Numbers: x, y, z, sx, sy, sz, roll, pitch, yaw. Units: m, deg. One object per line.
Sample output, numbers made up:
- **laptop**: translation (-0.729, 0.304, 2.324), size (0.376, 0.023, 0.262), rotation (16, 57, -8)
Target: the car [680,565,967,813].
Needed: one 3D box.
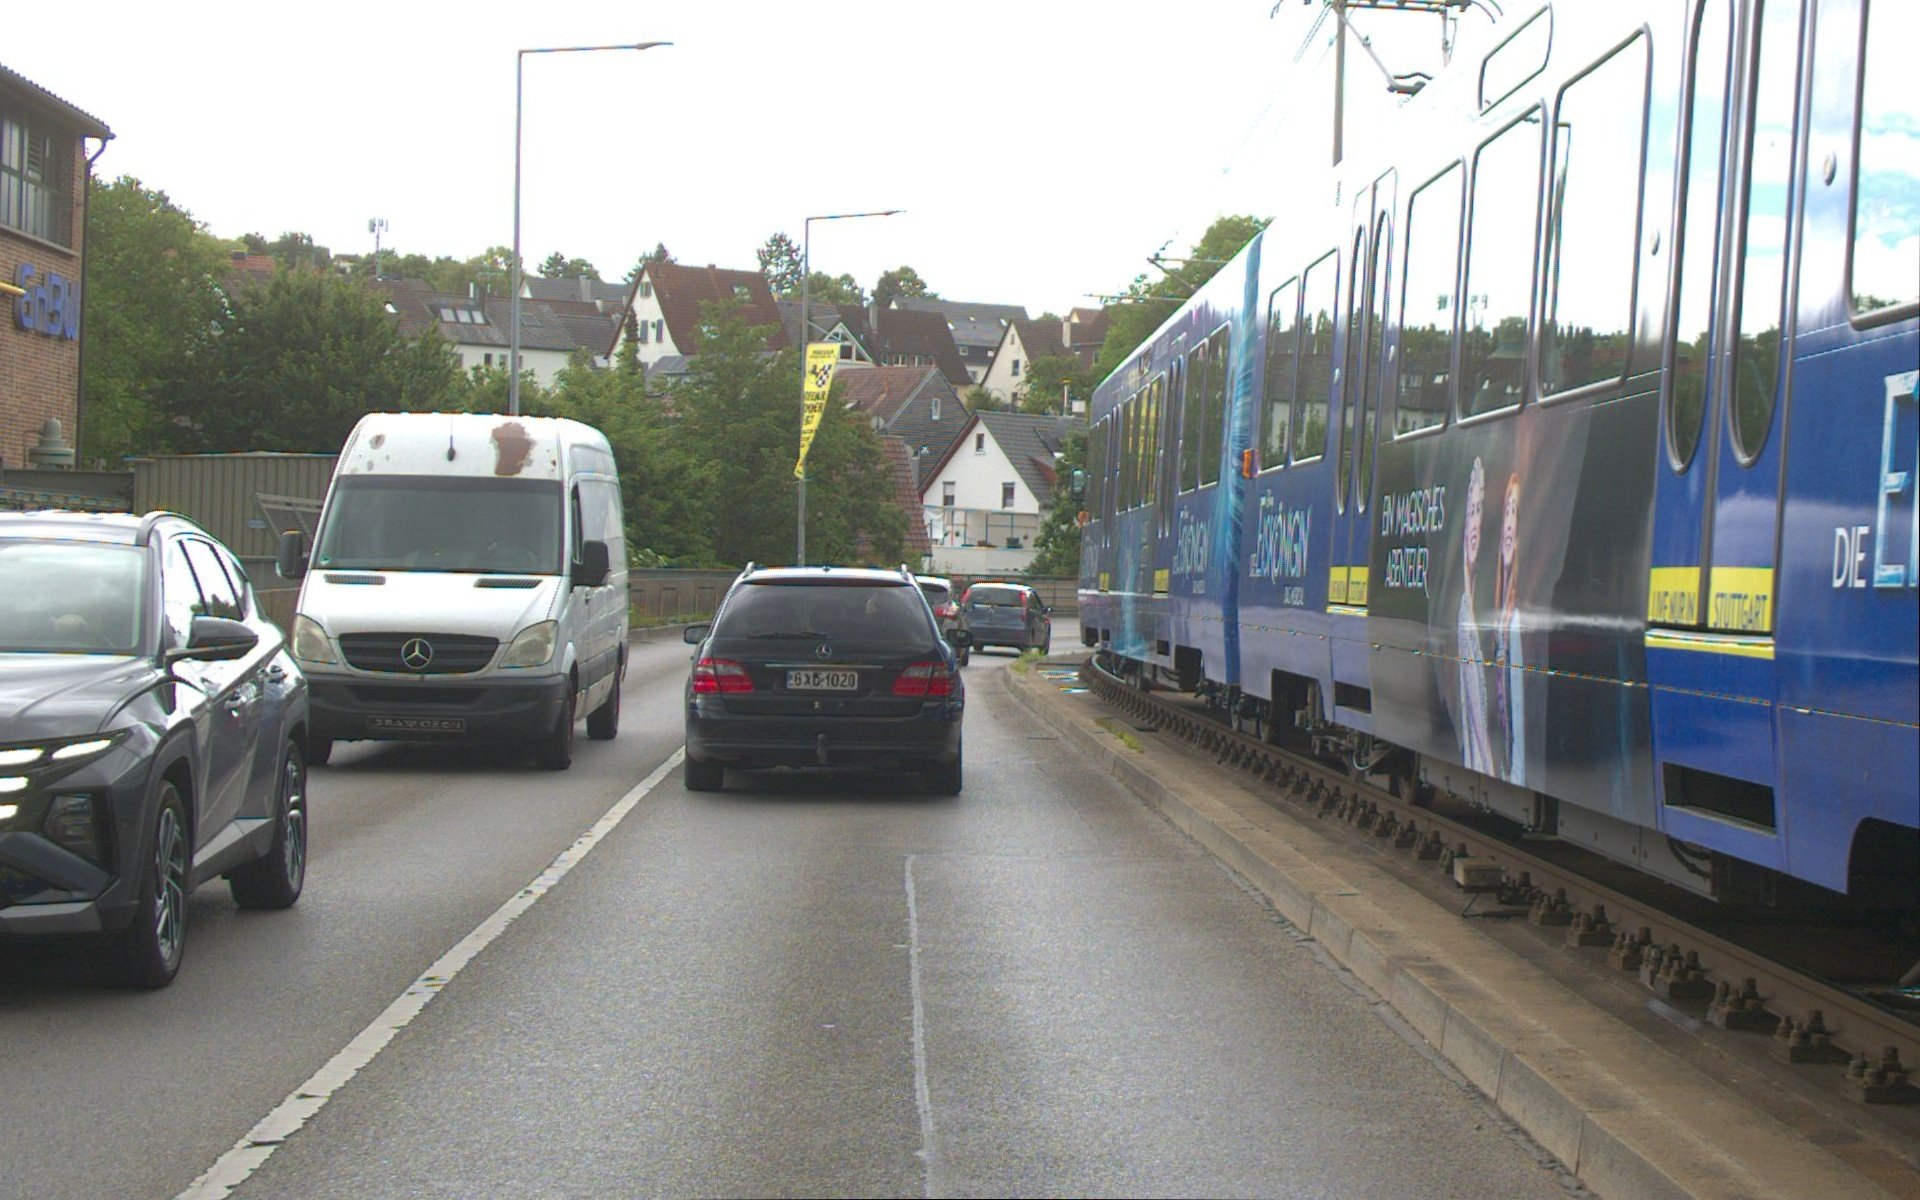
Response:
- **car**: translation (-0.915, 0.522, 23.361), size (1.759, 1.510, 4.443), rotation (0, 1, -2)

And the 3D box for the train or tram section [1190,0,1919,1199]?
- **train or tram section**: translation (3.162, -0.551, 12.152), size (2.784, 3.643, 19.894), rotation (-1, 0, -2)

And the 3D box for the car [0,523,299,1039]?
- **car**: translation (-3.684, 0.546, 12.915), size (1.715, 1.640, 4.000), rotation (-1, 1, -2)

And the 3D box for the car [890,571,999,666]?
- **car**: translation (-0.227, 0.282, 58.875), size (1.770, 1.550, 4.240), rotation (0, 1, 1)

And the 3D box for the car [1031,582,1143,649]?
- **car**: translation (3.171, 0.389, 85.108), size (1.772, 1.550, 4.237), rotation (2, 0, 16)

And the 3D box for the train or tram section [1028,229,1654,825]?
- **train or tram section**: translation (2.655, -0.495, 32.079), size (2.793, 3.751, 19.894), rotation (2, 0, -2)

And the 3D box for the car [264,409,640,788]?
- **car**: translation (-3.764, -0.072, 26.745), size (2.033, 2.552, 7.008), rotation (0, 1, -1)

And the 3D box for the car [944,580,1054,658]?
- **car**: translation (0.849, 0.379, 72.068), size (1.793, 1.550, 4.384), rotation (1, 0, 7)
